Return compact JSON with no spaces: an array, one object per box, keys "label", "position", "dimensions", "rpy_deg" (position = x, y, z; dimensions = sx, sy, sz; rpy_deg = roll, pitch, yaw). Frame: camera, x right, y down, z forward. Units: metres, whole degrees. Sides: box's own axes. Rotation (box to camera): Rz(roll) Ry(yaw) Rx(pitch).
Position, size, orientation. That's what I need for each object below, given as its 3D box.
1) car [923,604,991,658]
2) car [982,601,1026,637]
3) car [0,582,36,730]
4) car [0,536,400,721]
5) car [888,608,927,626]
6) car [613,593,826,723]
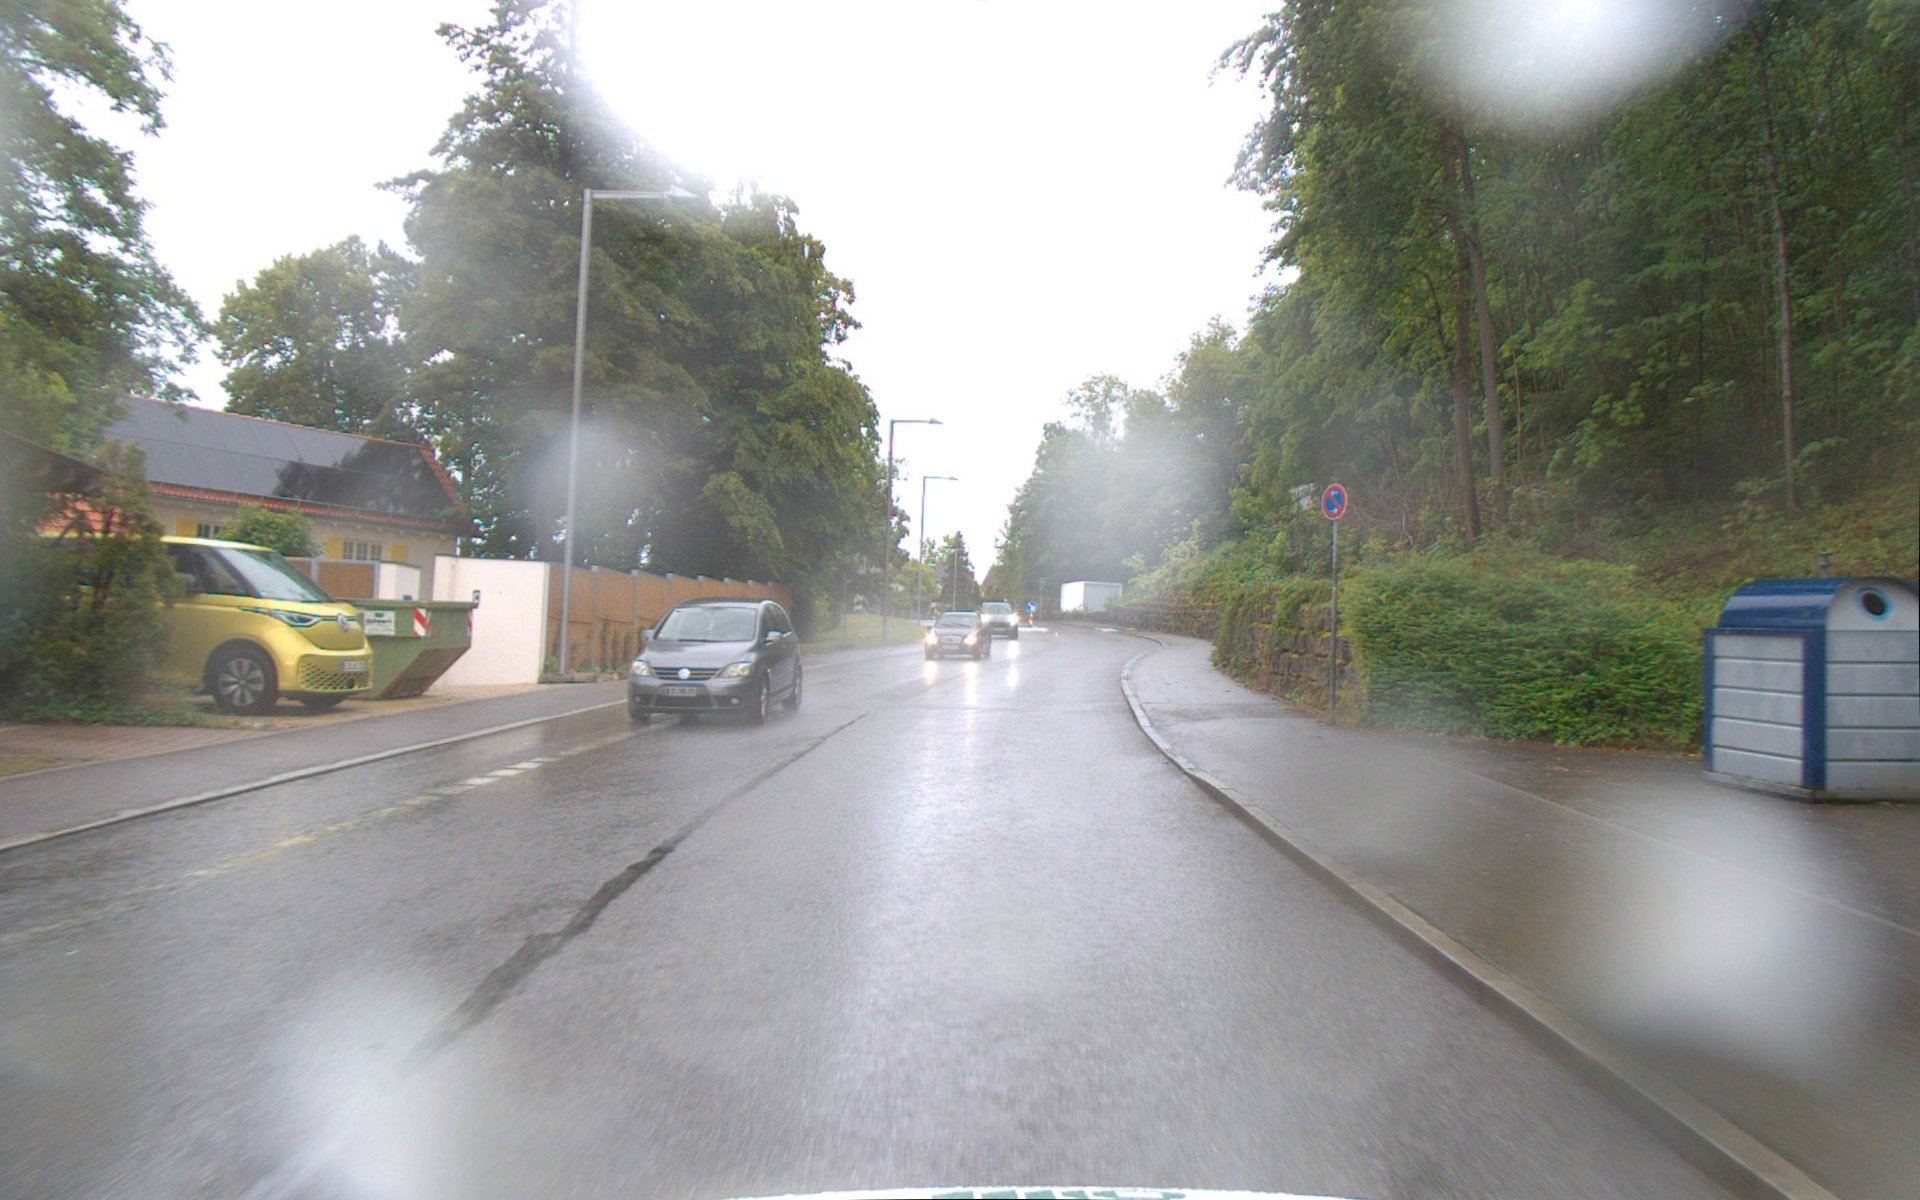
[{"label":"car","position":[-0.044,0.931,50.848],"dimensions":[1.796,1.538,4.171],"rpy_deg":[1,0,3]},{"label":"car","position":[2.147,0.896,80.107],"dimensions":[1.878,1.676,4.549],"rpy_deg":[0,0,5]},{"label":"car","position":[-10.543,0.491,14.430],"dimensions":[3.915,1.326,1.790],"rpy_deg":[0,0,-2]},{"label":"car","position":[-8.938,0.290,18.737],"dimensions":[4.408,1.892,2.091],"rpy_deg":[1,0,5]},{"label":"car","position":[-5.675,1.791,177.536],"dimensions":[1.998,1.660,3.937],"rpy_deg":[6,-2,-43]},{"label":"car","position":[-3.118,0.722,22.423],"dimensions":[1.795,1.538,4.620],"rpy_deg":[1,0,5]}]
